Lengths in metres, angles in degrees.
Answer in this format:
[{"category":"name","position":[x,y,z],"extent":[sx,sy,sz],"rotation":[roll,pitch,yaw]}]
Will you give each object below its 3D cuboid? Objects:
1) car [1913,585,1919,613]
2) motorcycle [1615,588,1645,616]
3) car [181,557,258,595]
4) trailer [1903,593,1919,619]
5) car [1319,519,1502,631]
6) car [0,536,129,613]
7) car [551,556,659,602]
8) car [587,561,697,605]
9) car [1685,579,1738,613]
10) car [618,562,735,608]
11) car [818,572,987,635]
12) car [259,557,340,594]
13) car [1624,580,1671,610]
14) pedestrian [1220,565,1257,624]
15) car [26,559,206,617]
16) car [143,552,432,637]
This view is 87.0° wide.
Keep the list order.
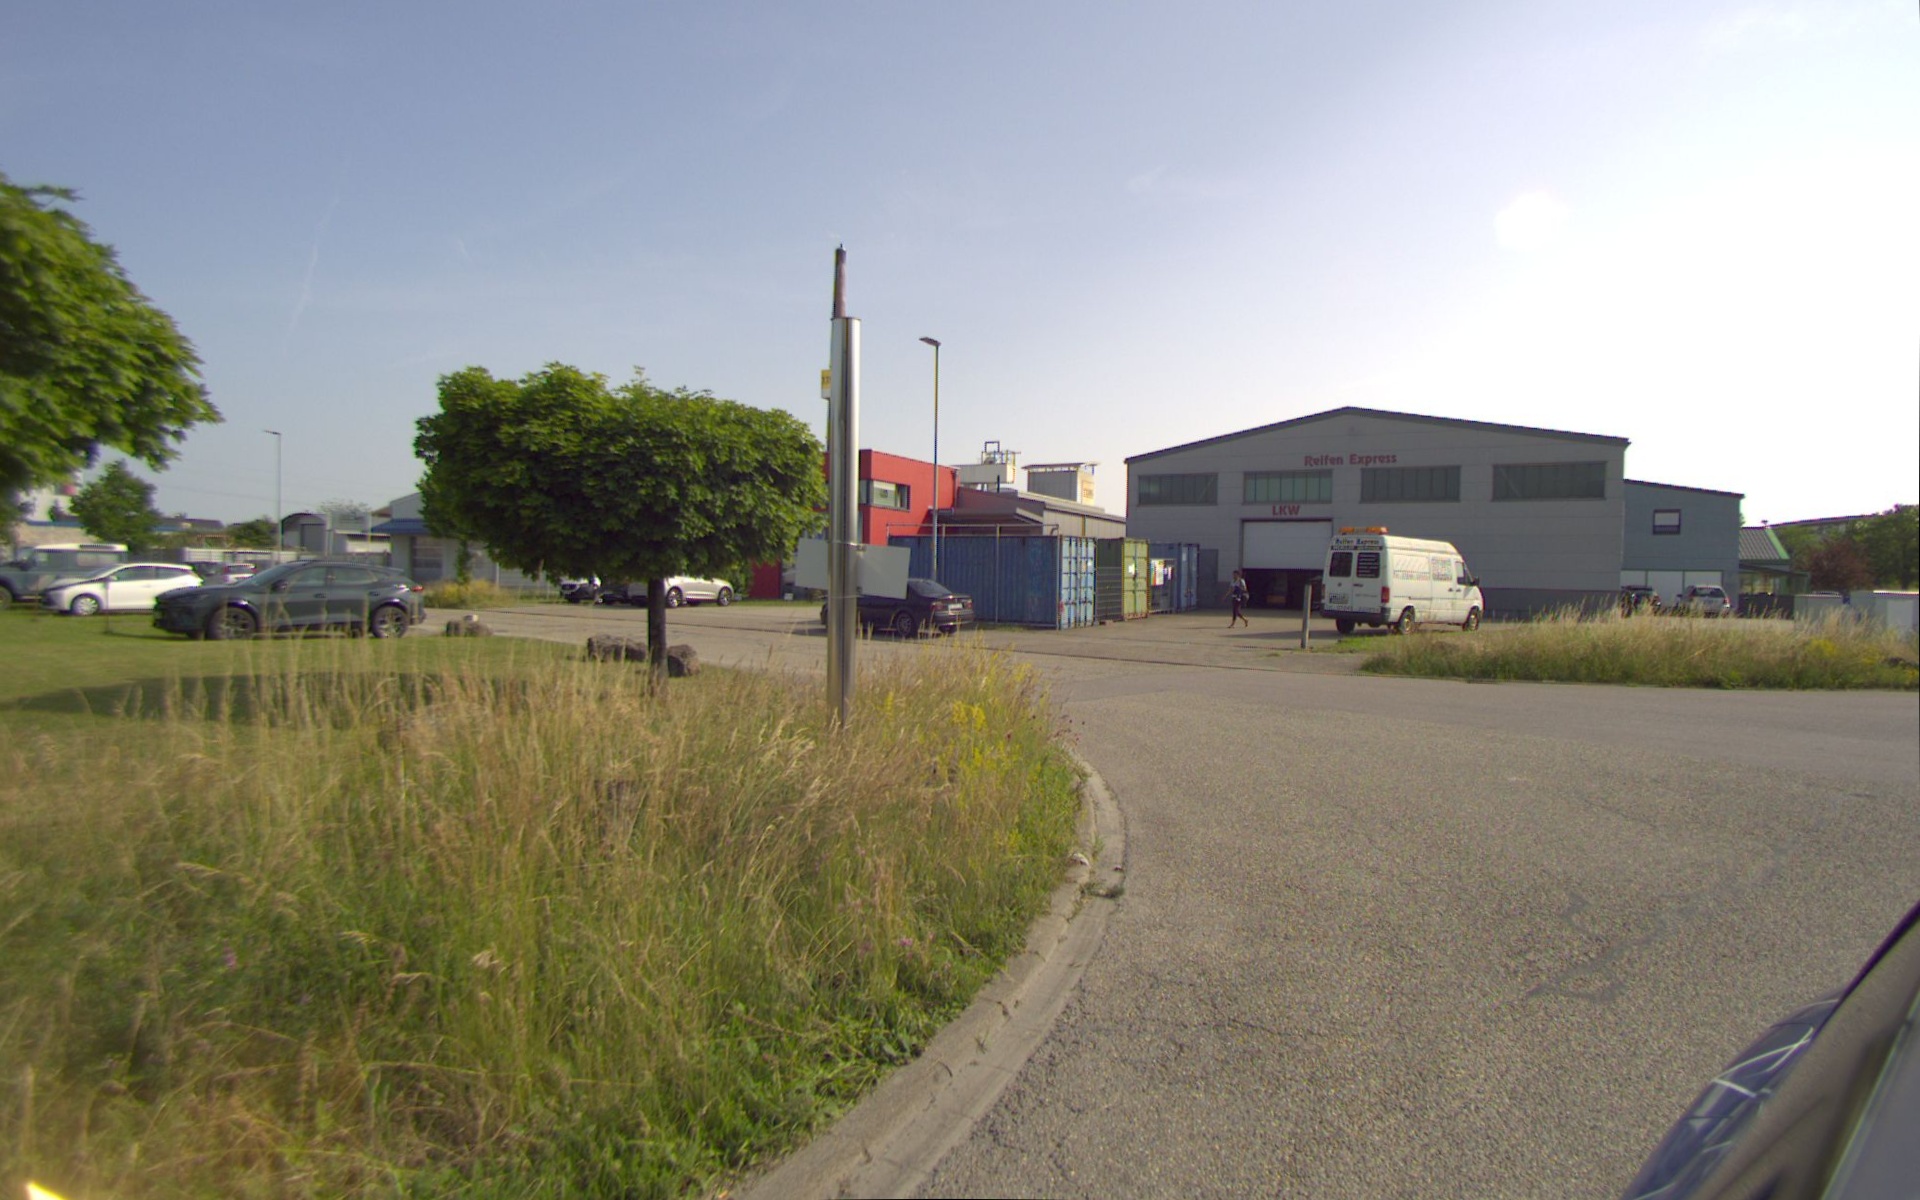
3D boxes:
[{"category":"car","position":[55.004,-0.004,56.340],"extent":[1.704,1.592,4.094],"rotation":[2,1,27]},{"category":"motorcycle","position":[27.803,0.080,42.030],"extent":[0.796,1.108,2.181],"rotation":[1,1,27]},{"category":"car","position":[-35.567,-1.177,48.587],"extent":[3.977,1.749,1.974],"rotation":[2,1,37]},{"category":"trailer","position":[47.211,0.278,49.038],"extent":[1.481,1.264,2.948],"rotation":[0,0,28]},{"category":"car","position":[12.225,-0.637,27.266],"extent":[5.772,2.739,1.980],"rotation":[0,1,-38]},{"category":"car","position":[-26.409,-0.737,28.932],"extent":[1.674,1.981,3.663],"rotation":[3,-1,33]},{"category":"car","position":[-14.913,-0.906,42.733],"extent":[1.702,1.819,4.161],"rotation":[2,2,31]},{"category":"car","position":[-12.862,-0.696,41.177],"extent":[1.773,1.653,4.161],"rotation":[2,2,31]},{"category":"car","position":[37.082,-0.207,50.005],"extent":[1.625,1.587,3.765],"rotation":[2,1,30]},{"category":"car","position":[-11.047,-0.600,39.679],"extent":[1.773,1.653,4.417],"rotation":[2,2,31]},{"category":"car","position":[-1.564,0.030,26.258],"extent":[4.455,1.426,1.784],"rotation":[2,3,42]},{"category":"car","position":[-29.499,-1.090,45.152],"extent":[3.565,1.540,1.812],"rotation":[2,2,34]},{"category":"car","position":[34.581,-0.253,50.971],"extent":[1.668,1.420,3.672],"rotation":[2,1,30]},{"category":"pedestrian","position":[7.958,-0.174,28.936],"extent":[0.733,1.660,0.706],"rotation":[1,1,-23]},{"category":"car","position":[-22.825,-0.373,27.478],"extent":[1.551,1.468,3.478],"rotation":[2,3,33]},{"category":"car","position":[-12.716,-0.143,19.377],"extent":[1.778,1.426,4.287],"rotation":[2,2,38]}]
